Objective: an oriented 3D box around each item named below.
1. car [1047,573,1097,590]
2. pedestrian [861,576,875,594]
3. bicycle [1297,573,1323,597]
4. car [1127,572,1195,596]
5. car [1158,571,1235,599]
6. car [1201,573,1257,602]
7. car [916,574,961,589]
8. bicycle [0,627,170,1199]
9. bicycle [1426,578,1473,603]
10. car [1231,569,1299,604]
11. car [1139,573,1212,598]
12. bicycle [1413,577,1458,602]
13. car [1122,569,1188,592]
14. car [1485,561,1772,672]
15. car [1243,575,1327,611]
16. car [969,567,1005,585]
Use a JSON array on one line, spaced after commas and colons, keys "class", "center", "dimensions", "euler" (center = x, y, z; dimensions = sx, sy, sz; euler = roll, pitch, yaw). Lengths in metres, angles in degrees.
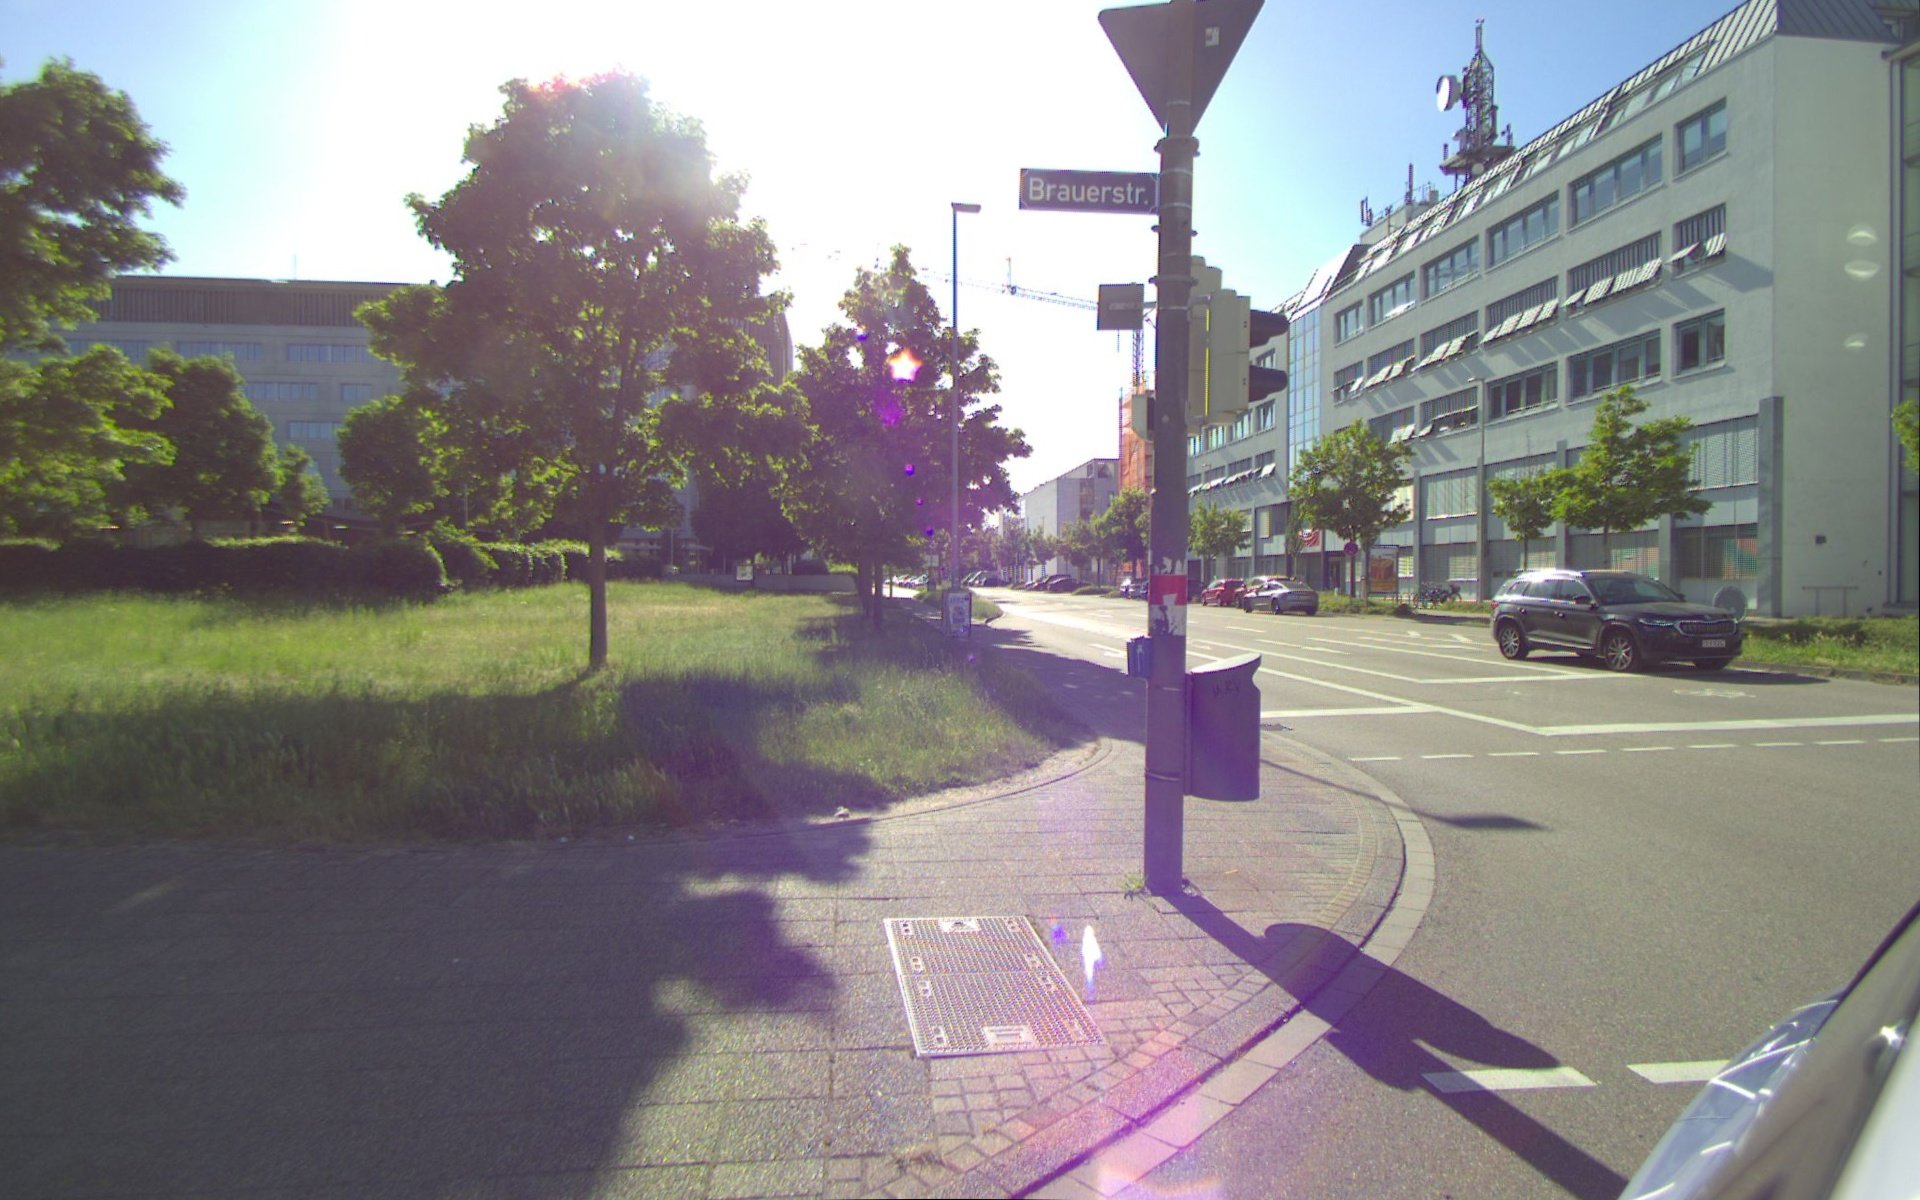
[{"class": "car", "center": [10.731, -1.777, 96.714], "dimensions": [4.310, 1.449, 1.981], "euler": [-3, 2, -9]}, {"class": "pedestrian", "center": [-6.354, -1.059, 70.078], "dimensions": [0.829, 1.232, 0.730], "euler": [1, 1, -18]}, {"class": "bicycle", "center": [20.266, -0.870, 58.697], "dimensions": [0.698, 1.364, 2.233], "euler": [1, 1, 0]}, {"class": "car", "center": [14.021, -1.135, 70.581], "dimensions": [4.313, 1.449, 1.695], "euler": [-3, 1, -3]}, {"class": "car", "center": [14.781, -0.944, 63.351], "dimensions": [4.309, 1.557, 1.697], "euler": [-3, 1, -10]}, {"class": "car", "center": [14.757, -0.722, 55.745], "dimensions": [1.660, 1.449, 3.876], "euler": [-3, 2, -5]}, {"class": "car", "center": [-2.128, -1.837, 100.394], "dimensions": [4.328, 1.481, 1.898], "euler": [1, 1, -5]}, {"class": "bicycle", "center": [-2.647, 0.778, 1.616], "dimensions": [0.787, 1.364, 2.055], "euler": [1, 1, 32]}, {"class": "bicycle", "center": [21.735, -0.416, 44.944], "dimensions": [1.761, 1.082, 0.621], "euler": [1, 1, 3]}, {"class": "car", "center": [15.260, -0.695, 50.845], "dimensions": [1.659, 1.627, 4.317], "euler": [-3, 2, -6]}, {"class": "car", "center": [14.127, -0.968, 66.359], "dimensions": [4.310, 1.449, 1.696], "euler": [-3, 1, -8]}, {"class": "bicycle", "center": [21.480, -0.478, 45.699], "dimensions": [1.740, 1.082, 0.555], "euler": [1, 1, 3]}, {"class": "car", "center": [13.995, -1.400, 72.841], "dimensions": [4.312, 1.449, 1.695], "euler": [-3, 1, -5]}, {"class": "car", "center": [11.576, 0.193, 17.977], "dimensions": [1.724, 1.648, 4.484], "euler": [-3, 2, -6]}, {"class": "car", "center": [14.257, -0.358, 44.696], "dimensions": [1.659, 1.486, 4.555], "euler": [0, 1, -9]}, {"class": "car", "center": [4.268, -3.865, 161.676], "dimensions": [5.478, 2.513, 2.012], "euler": [-3, 1, -3]}]
